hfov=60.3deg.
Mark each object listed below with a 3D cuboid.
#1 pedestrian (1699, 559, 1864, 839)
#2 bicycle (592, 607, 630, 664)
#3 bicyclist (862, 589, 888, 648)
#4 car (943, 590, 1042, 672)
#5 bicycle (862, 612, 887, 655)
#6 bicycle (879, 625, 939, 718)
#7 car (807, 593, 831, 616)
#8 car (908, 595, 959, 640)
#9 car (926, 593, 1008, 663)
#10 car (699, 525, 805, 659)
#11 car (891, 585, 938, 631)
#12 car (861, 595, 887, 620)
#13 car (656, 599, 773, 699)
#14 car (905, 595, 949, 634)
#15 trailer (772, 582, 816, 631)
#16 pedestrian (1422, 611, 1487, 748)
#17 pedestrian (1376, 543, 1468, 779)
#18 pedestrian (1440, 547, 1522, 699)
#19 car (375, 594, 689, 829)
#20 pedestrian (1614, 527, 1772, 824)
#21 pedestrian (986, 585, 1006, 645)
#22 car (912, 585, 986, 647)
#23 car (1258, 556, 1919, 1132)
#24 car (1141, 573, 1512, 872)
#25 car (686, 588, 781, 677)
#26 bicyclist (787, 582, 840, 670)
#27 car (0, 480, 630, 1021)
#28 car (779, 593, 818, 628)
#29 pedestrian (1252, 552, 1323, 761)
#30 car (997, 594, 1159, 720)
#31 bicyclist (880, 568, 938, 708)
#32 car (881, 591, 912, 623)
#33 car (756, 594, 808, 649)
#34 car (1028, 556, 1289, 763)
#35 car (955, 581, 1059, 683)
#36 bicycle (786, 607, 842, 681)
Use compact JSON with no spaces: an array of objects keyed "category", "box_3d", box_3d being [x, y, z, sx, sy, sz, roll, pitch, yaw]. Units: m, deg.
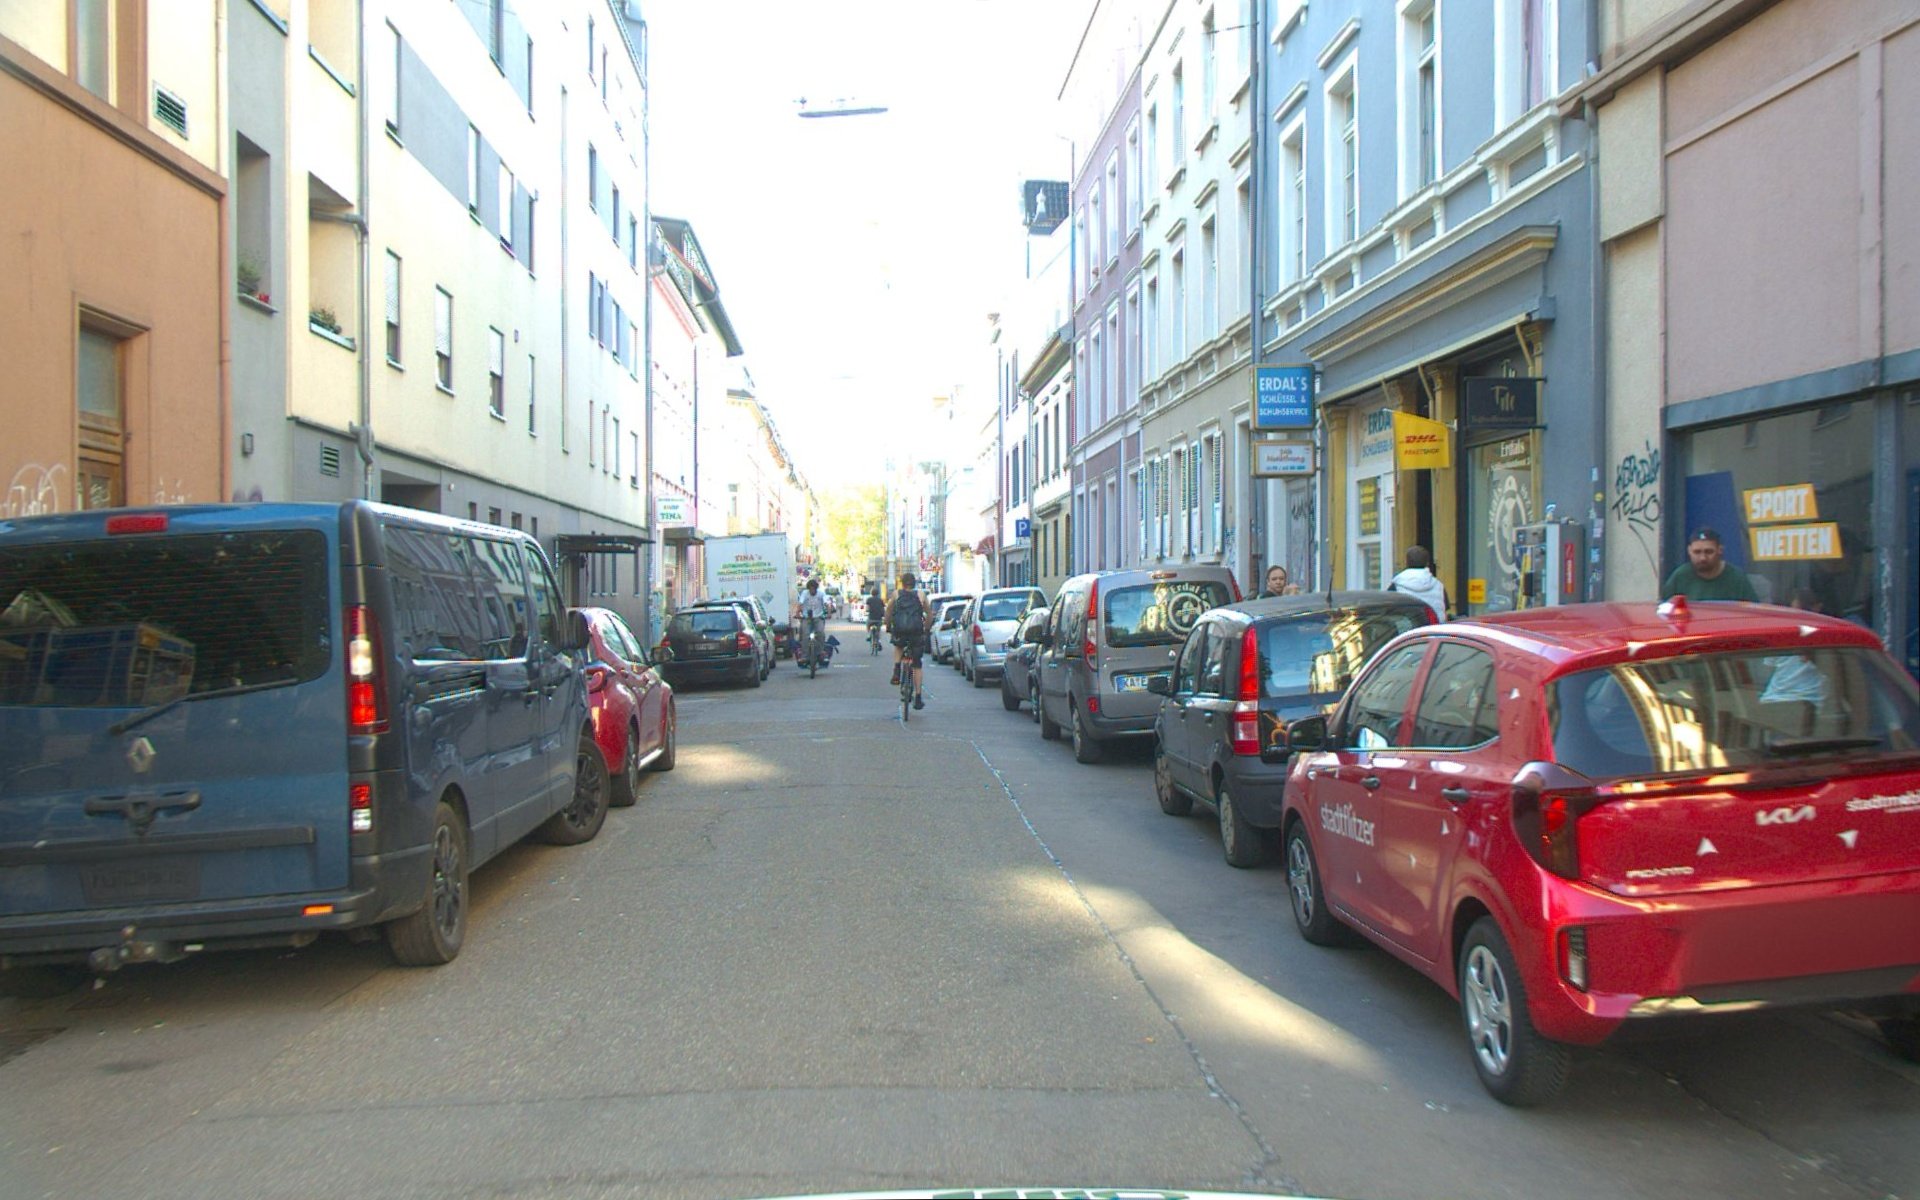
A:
[{"category":"pedestrian","box_3d":[4.735,0.555,9.559,0.576,1.556,0.657,1,-1,-9]},{"category":"bicycle","box_3d":[-7.651,0.771,36.306,0.480,1.185,1.772,-2,0,-3]},{"category":"bicyclist","box_3d":[-2.329,0.494,45.058,0.658,1.595,0.715,1,-1,-6]},{"category":"car","box_3d":[0.633,0.641,35.593,1.663,1.570,4.624,-2,0,-4]},{"category":"bicycle","box_3d":[-2.332,0.897,45.082,0.636,1.149,2.134,1,0,-4]},{"category":"bicycle","box_3d":[-0.657,0.869,20.801,0.664,1.093,1.940,1,0,-4]},{"category":"car","box_3d":[-10.963,0.366,128.857,1.716,1.713,3.792,-1,0,-4]},{"category":"car","box_3d":[-1.027,0.632,61.671,1.614,1.500,3.967,-4,0,-4]},{"category":"car","box_3d":[0.125,0.665,41.063,1.653,1.570,4.042,-2,0,-4]},{"category":"car","box_3d":[-5.678,-0.181,46.107,2.297,3.349,7.149,-2,0,-3]},{"category":"car","box_3d":[-2.029,0.355,72.665,1.716,1.911,3.967,-1,0,-6]},{"category":"car","box_3d":[-5.537,0.478,106.034,1.579,1.587,3.607,1,0,-4]},{"category":"car","box_3d":[-4.336,0.812,29.738,1.683,1.504,4.495,-3,1,-4]},{"category":"car","box_3d":[-1.372,0.573,67.639,1.715,1.513,3.797,-1,0,-2]},{"category":"trailer","box_3d":[-7.542,0.284,75.500,1.845,2.129,3.734,-1,0,-4]},{"category":"pedestrian","box_3d":[4.599,0.731,15.400,0.429,1.244,0.514,1,-1,-2]},{"category":"pedestrian","box_3d":[3.536,0.460,12.669,0.550,1.771,0.427,1,-1,-6]},{"category":"pedestrian","box_3d":[4.389,0.189,13.921,0.521,1.244,0.512,0,-1,36]},{"category":"car","box_3d":[-3.334,0.798,13.604,1.716,1.548,3.866,-3,0,-4]},{"category":"pedestrian","box_3d":[4.537,0.454,10.262,0.618,1.771,0.656,1,-1,-17]},{"category":"pedestrian","box_3d":[1.257,0.525,57.715,0.631,2.049,0.763,1,-1,-4]},{"category":"car","box_3d":[-0.371,0.440,49.075,1.880,1.736,4.362,-1,0,-4]},{"category":"car","box_3d":[2.381,0.698,6.436,1.575,1.600,3.550,1,0,-4]},{"category":"car","box_3d":[2.245,0.696,10.954,1.538,1.584,3.312,-3,0,-2]},{"category":"car","box_3d":[-4.829,0.647,35.682,1.683,1.679,4.242,-3,1,-4]},{"category":"bicyclist","box_3d":[-2.846,0.505,32.305,0.931,1.656,0.952,-2,0,-3]},{"category":"car","box_3d":[-3.122,0.514,8.507,1.980,1.912,5.294,1,0,-2]},{"category":"car","box_3d":[-7.779,0.502,79.907,1.716,1.600,3.792,-1,0,-4]},{"category":"pedestrian","box_3d":[2.775,0.471,14.048,0.432,1.734,0.654,1,-1,-3]},{"category":"car","box_3d":[1.494,0.714,22.067,1.522,1.537,3.606,1,0,-6]},{"category":"bicyclist","box_3d":[-0.647,0.470,20.748,0.654,1.706,1.096,1,-1,-4]},{"category":"car","box_3d":[-3.448,0.369,89.658,1.579,1.662,3.607,1,0,-4]},{"category":"car","box_3d":[-6.468,0.764,60.405,1.718,1.848,4.074,-2,0,-5]},{"category":"car","box_3d":[1.867,0.548,16.914,1.862,1.825,4.311,1,0,-4]},{"category":"car","box_3d":[0.804,0.559,30.262,1.526,1.742,3.555,1,0,-4]},{"category":"bicycle","box_3d":[-2.841,0.826,32.410,0.958,1.337,2.554,-2,0,-3]}]
